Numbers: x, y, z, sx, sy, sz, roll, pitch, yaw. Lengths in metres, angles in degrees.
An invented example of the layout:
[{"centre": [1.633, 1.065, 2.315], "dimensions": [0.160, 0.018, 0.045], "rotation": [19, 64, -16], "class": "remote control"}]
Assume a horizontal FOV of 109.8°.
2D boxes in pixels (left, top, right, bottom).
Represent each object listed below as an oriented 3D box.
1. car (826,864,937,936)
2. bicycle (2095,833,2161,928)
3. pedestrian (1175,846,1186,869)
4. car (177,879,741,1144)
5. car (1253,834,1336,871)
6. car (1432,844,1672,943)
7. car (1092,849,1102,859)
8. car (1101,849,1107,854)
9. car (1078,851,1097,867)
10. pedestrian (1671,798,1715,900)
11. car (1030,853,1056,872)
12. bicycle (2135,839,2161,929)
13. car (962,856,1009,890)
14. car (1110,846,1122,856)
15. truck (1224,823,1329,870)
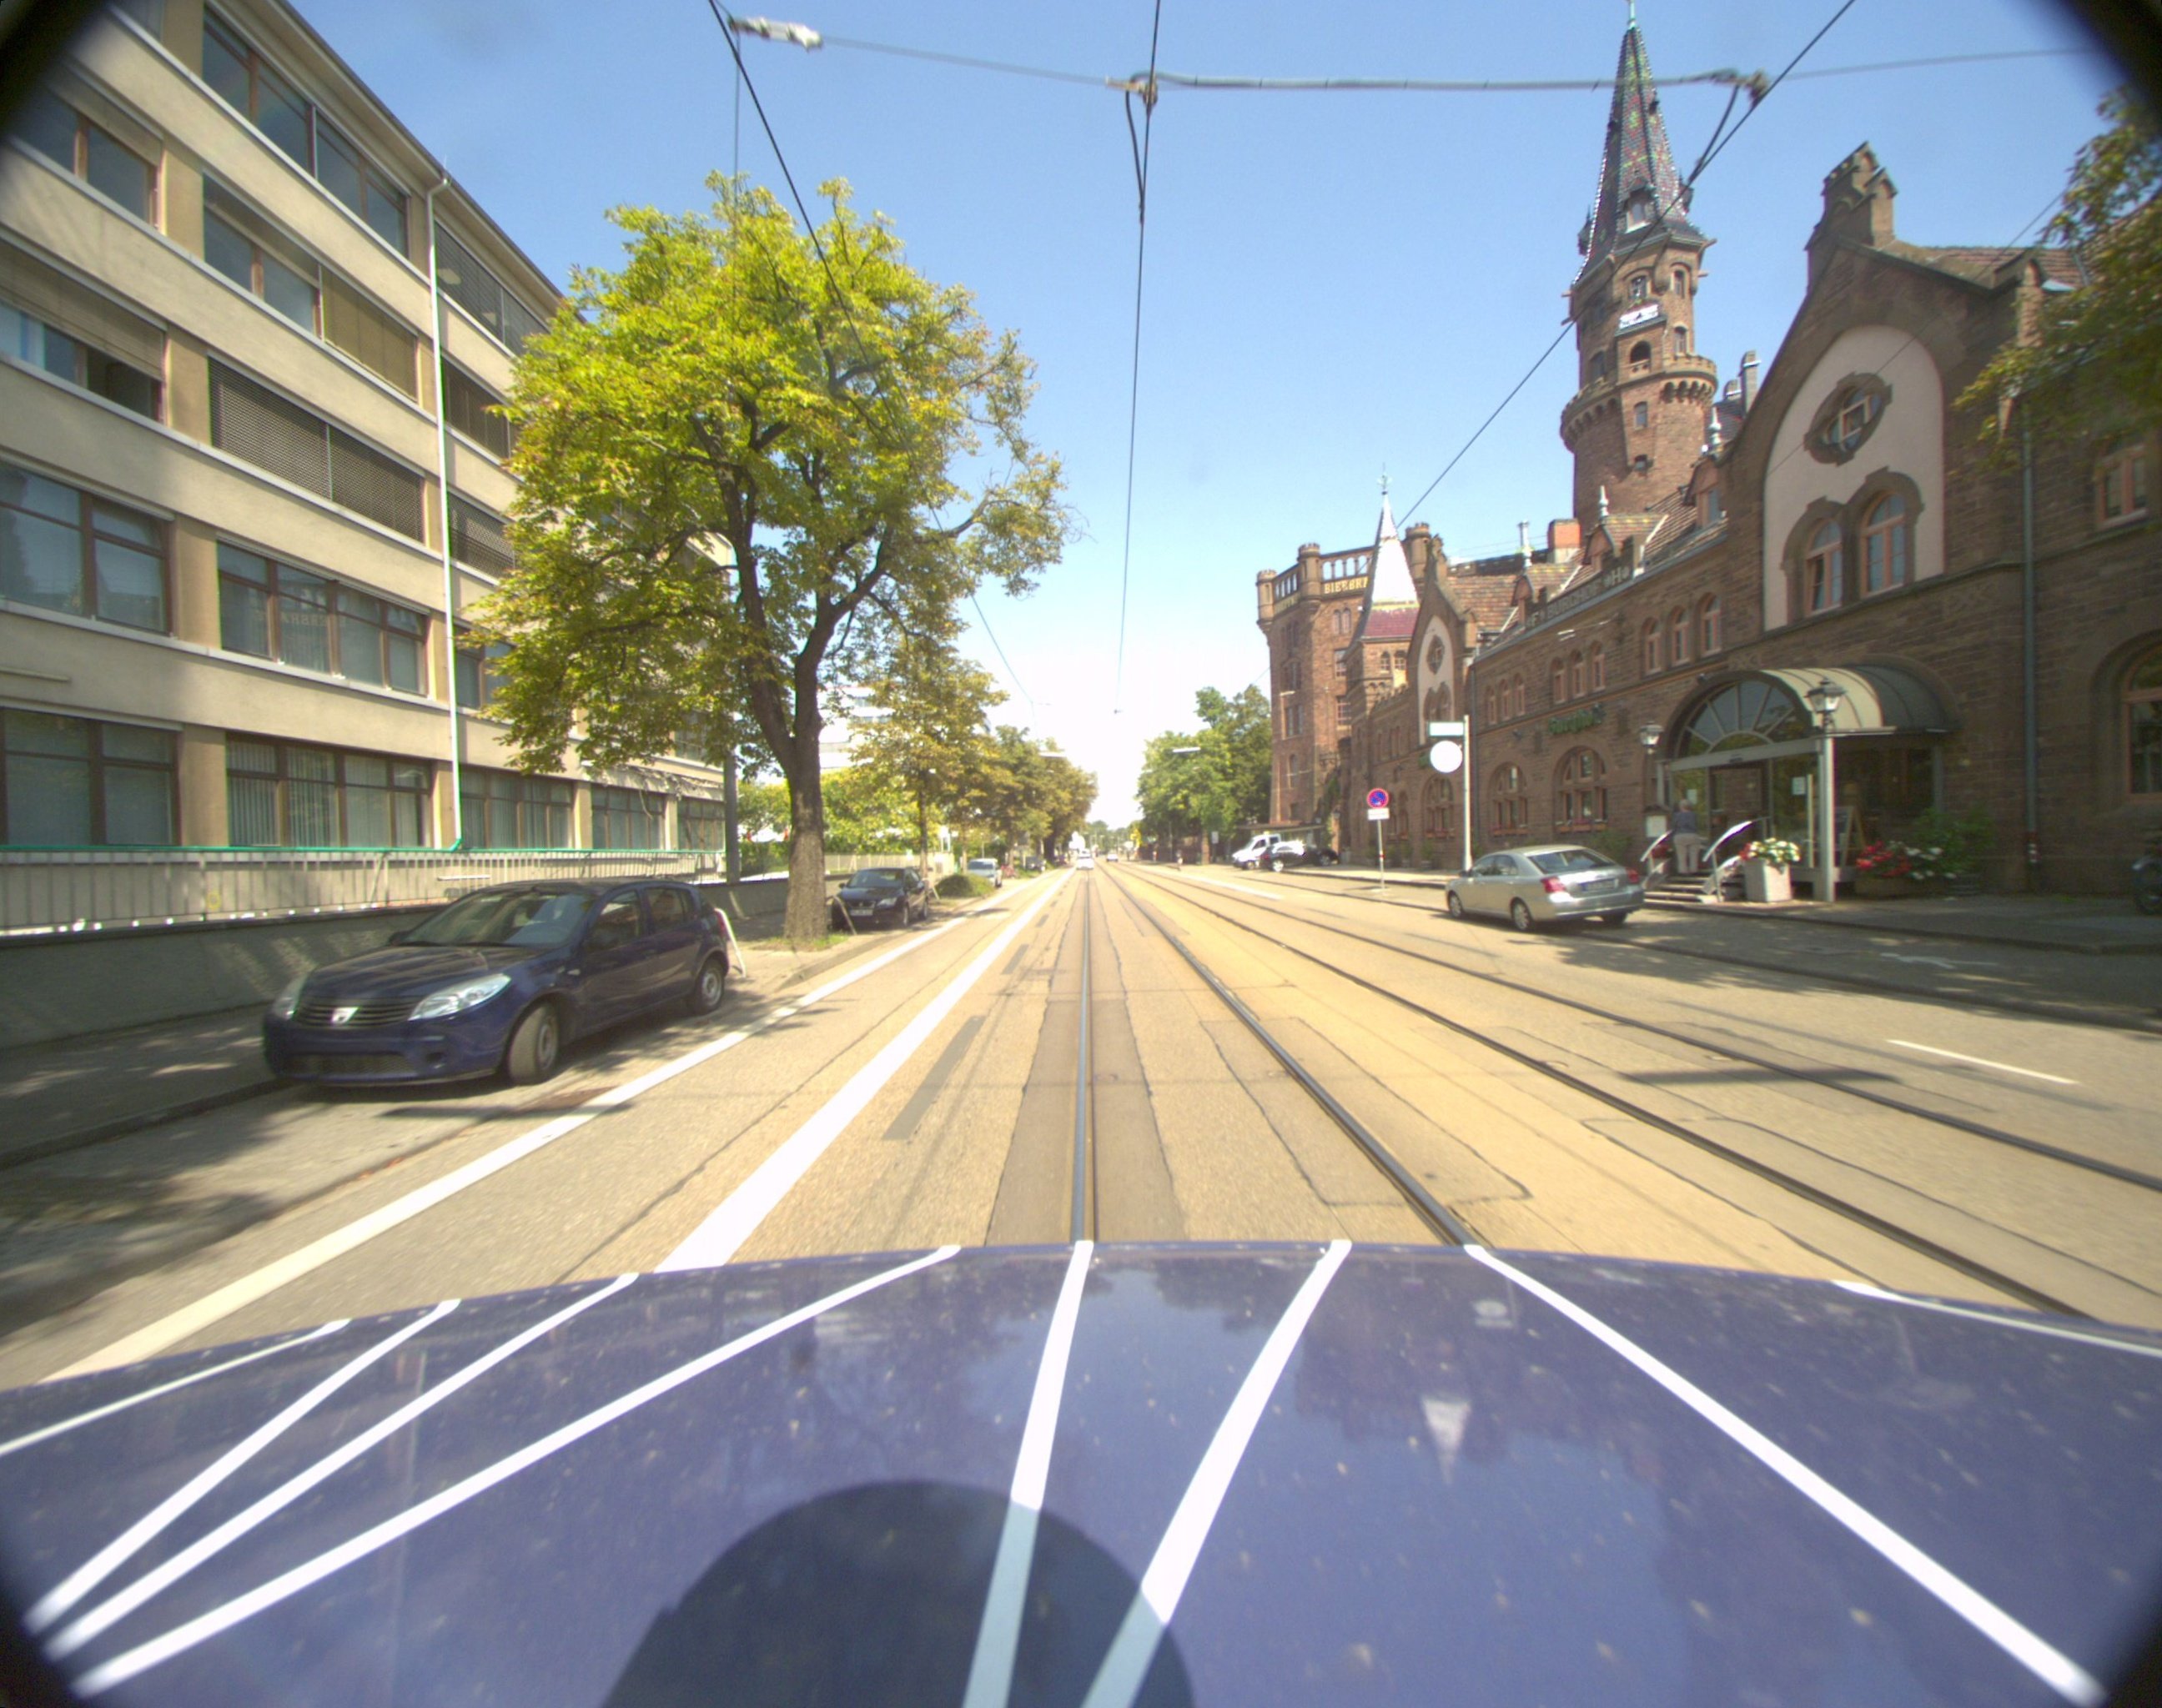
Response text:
[{"centre": [-4.724, 1.034, 18.565], "dimensions": [1.642, 1.465, 3.993], "rotation": [1, 1, 0], "class": "car"}, {"centre": [13.706, 0.301, 9.610], "dimensions": [1.449, 1.056, 0.377], "rotation": [-7, 2, -9], "class": "bicycle"}, {"centre": [7.918, 0.287, 60.535], "dimensions": [0.736, 1.837, 0.828], "rotation": [-2, 1, 1], "class": "pedestrian"}, {"centre": [-4.869, 1.068, 6.866], "dimensions": [1.645, 1.561, 4.084], "rotation": [0, 0, 2], "class": "car"}, {"centre": [13.037, -0.120, 46.583], "dimensions": [4.407, 1.787, 2.000], "rotation": [-6, 1, 3], "class": "car"}, {"centre": [8.731, 0.623, 14.661], "dimensions": [1.939, 1.493, 4.514], "rotation": [-4, 1, 3], "class": "car"}, {"centre": [2.702, -0.046, 127.576], "dimensions": [1.677, 1.477, 3.777], "rotation": [-1, 1, 1], "class": "car"}, {"centre": [7.491, -0.802, 244.139], "dimensions": [1.798, 1.501, 4.000], "rotation": [-2, 0, 1], "class": "car"}, {"centre": [0.711, 0.451, 76.011], "dimensions": [1.824, 1.483, 4.019], "rotation": [-2, 0, 1], "class": "car"}, {"centre": [12.176, -0.106, 15.110], "dimensions": [0.520, 1.969, 0.504], "rotation": [-3, 2, -29], "class": "pedestrian"}, {"centre": [-3.329, 0.700, 67.509], "dimensions": [1.998, 1.521, 4.000], "rotation": [-2, 1, 1], "class": "car"}, {"centre": [13.758, 0.303, 9.282], "dimensions": [1.449, 1.056, 0.377], "rotation": [-7, 2, -9], "class": "bicycle"}, {"centre": [-4.633, 0.902, 37.323], "dimensions": [1.642, 1.464, 3.878], "rotation": [-2, 1, 2], "class": "car"}, {"centre": [6.159, -0.528, 135.078], "dimensions": [1.998, 1.783, 4.000], "rotation": [-2, 1, 1], "class": "car"}, {"centre": [13.475, -0.539, 52.652], "dimensions": [6.510, 2.510, 2.317], "rotation": [-6, 1, 1], "class": "truck"}]
